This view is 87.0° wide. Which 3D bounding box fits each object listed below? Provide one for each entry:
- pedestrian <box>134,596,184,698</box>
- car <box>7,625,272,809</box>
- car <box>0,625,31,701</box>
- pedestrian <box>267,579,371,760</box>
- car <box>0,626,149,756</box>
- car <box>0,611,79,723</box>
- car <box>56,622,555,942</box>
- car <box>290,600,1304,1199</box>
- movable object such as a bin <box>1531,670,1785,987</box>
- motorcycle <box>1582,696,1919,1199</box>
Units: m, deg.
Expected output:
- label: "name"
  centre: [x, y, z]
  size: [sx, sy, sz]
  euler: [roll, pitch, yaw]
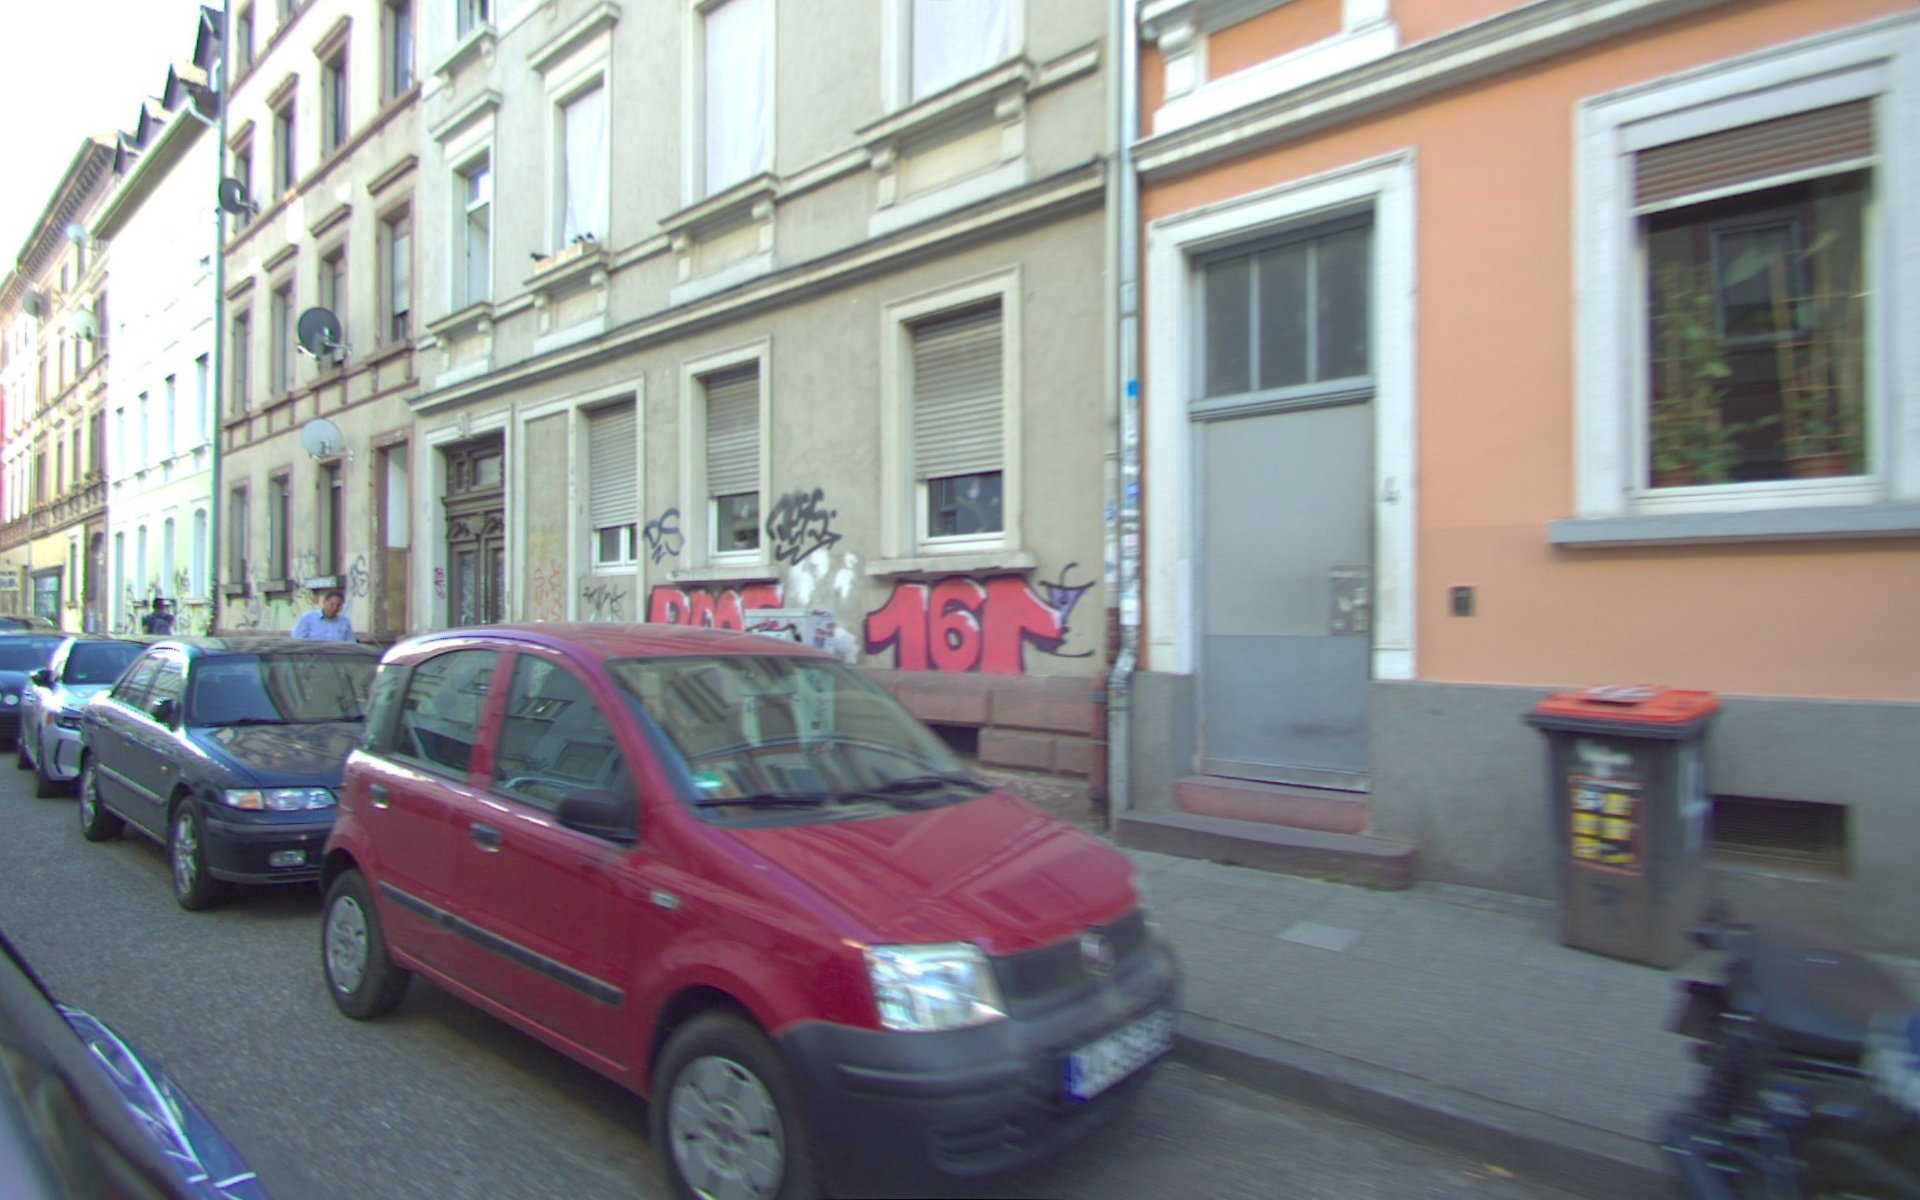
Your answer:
- label: "pedestrian"
  centre: [-14.911, 0.856, 18.835]
  size: [0.594, 1.844, 0.618]
  euler: [-1, 0, 41]
- label: "car"
  centre: [-8.294, 0.986, 10.106]
  size: [1.660, 1.474, 3.862]
  euler: [1, -2, -45]
- label: "car"
  centre: [-20.251, 1.247, 20.513]
  size: [3.858, 1.468, 1.662]
  euler: [-1, -2, 41]
- label: "pedestrian"
  centre: [-6.835, 0.706, 10.797]
  size: [0.594, 1.844, 0.780]
  euler: [-1, 0, 41]
- label: "car"
  centre: [-12.110, 1.083, 13.241]
  size: [3.858, 1.474, 1.662]
  euler: [-1, -2, 41]
- label: "car"
  centre: [-16.042, 1.053, 16.758]
  size: [3.858, 1.696, 1.662]
  euler: [-1, -2, 41]
- label: "car"
  centre: [-4.551, 0.890, 6.751]
  size: [4.310, 1.474, 1.662]
  euler: [-1, -2, 41]
- label: "car"
  centre: [-0.841, 0.792, 3.665]
  size: [3.608, 1.504, 1.662]
  euler: [-1, -2, 40]
- label: "movable object such as a bin"
  centre: [2.848, 0.853, 4.128]
  size: [0.768, 1.057, 0.663]
  euler: [-2, 0, -41]
- label: "motorcycle"
  centre: [1.977, 0.864, 2.012]
  size: [0.784, 1.137, 2.068]
  euler: [-1, 0, 19]
